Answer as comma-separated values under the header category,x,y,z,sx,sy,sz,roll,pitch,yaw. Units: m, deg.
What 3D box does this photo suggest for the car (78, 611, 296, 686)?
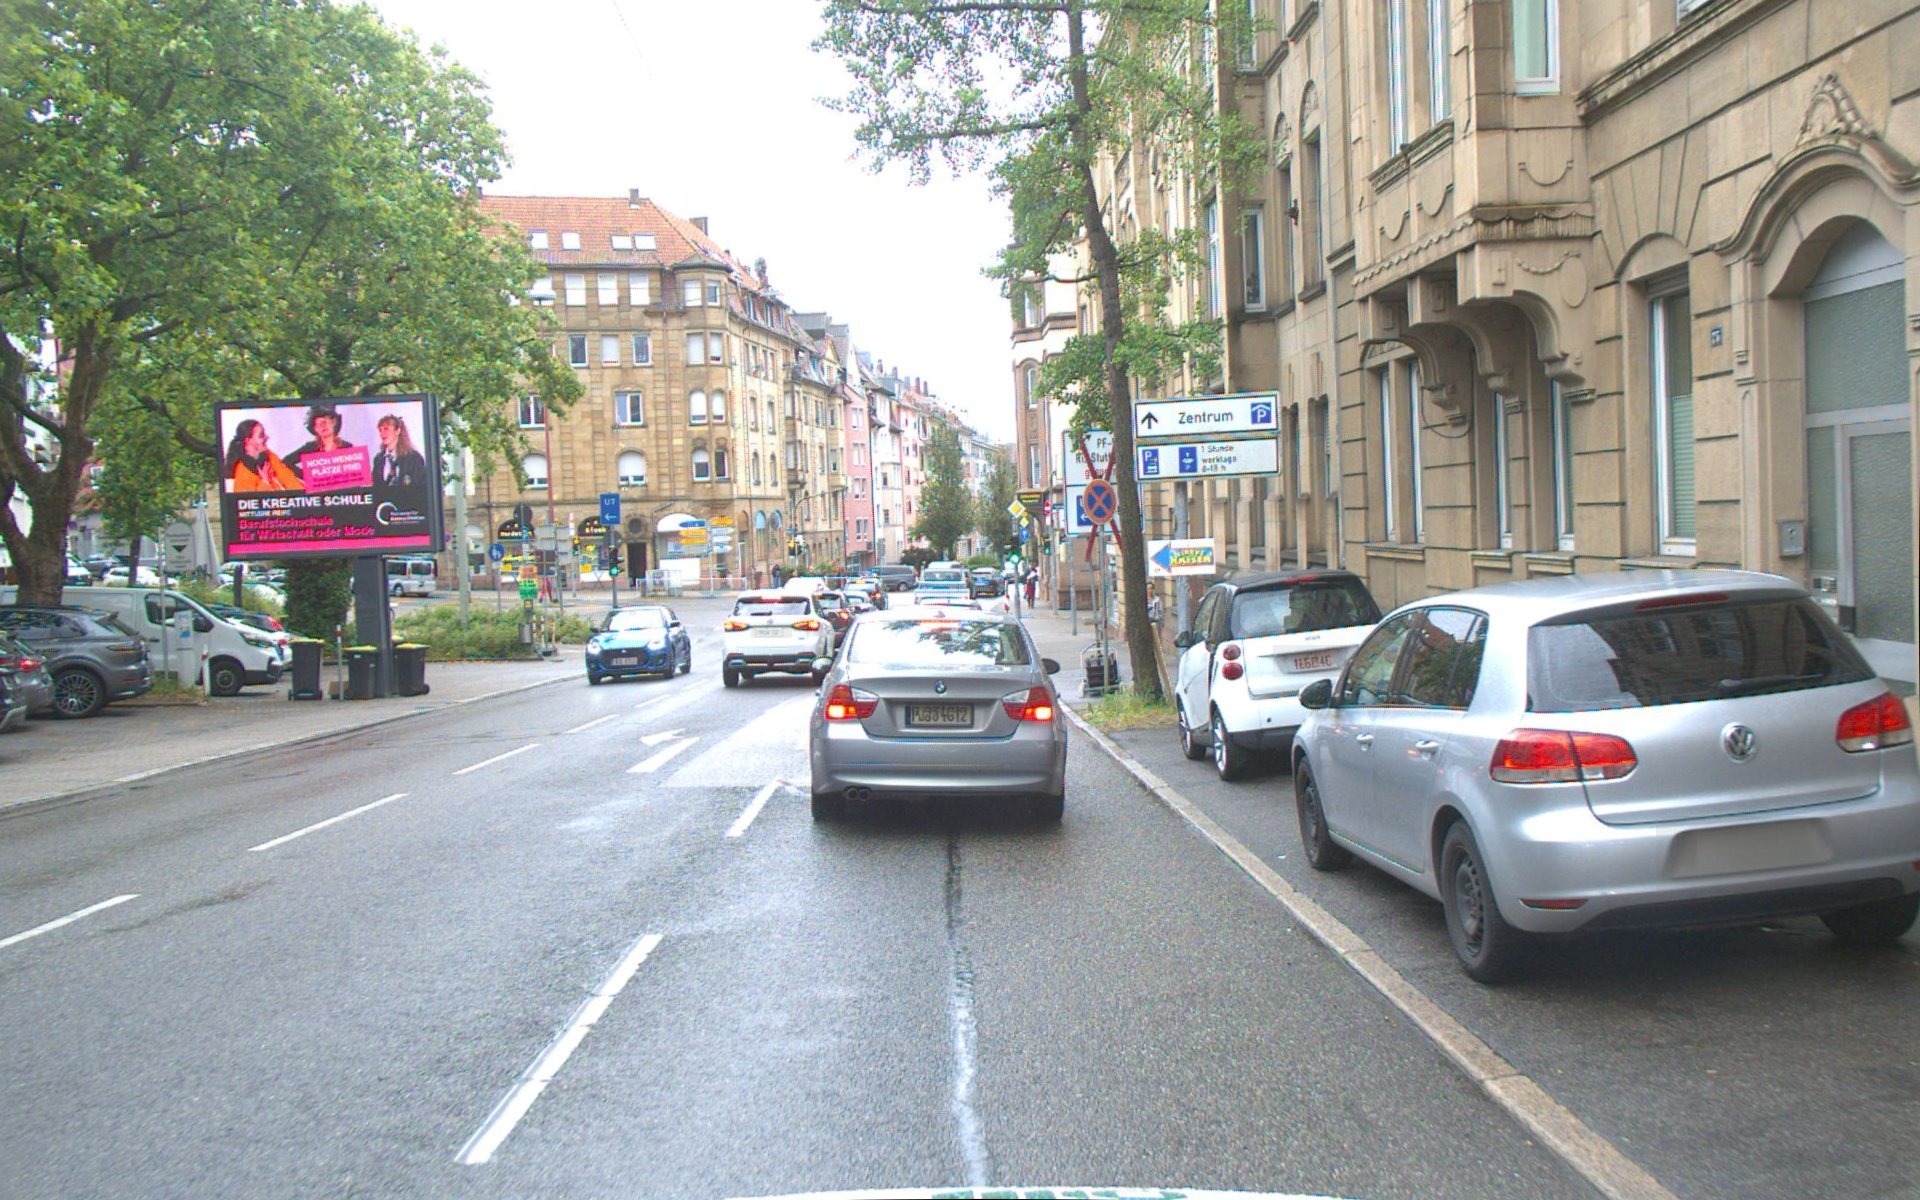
category,x,y,z,sx,sy,sz,roll,pitch,yaw
car,-16.583,1.014,35.714,4.112,1.481,1.782,-1,0,-22

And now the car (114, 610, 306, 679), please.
category,x,y,z,sx,sy,sz,roll,pitch,yaw
car,-17.291,1.005,38.310,3.916,1.476,1.758,-1,0,-22

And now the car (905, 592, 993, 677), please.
category,x,y,z,sx,sy,sz,roll,pitch,yaw
car,-0.175,0.607,31.223,1.562,1.490,4.000,0,0,1

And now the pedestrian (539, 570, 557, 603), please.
category,x,y,z,sx,sy,sz,roll,pitch,yaw
pedestrian,-20.078,-0.658,80.541,0.525,1.605,0.720,-2,0,15

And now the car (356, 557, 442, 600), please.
category,x,y,z,sx,sy,sz,roll,pitch,yaw
car,-29.727,-1.165,87.609,4.197,2.138,1.998,2,2,28

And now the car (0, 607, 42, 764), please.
category,x,y,z,sx,sy,sz,roll,pitch,yaw
car,-12.645,1.021,18.095,4.307,1.702,1.842,-2,0,-23

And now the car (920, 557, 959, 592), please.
category,x,y,z,sx,sy,sz,roll,pitch,yaw
car,-1.191,-1.495,97.612,1.724,1.959,4.327,-1,0,7

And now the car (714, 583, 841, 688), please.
category,x,y,z,sx,sy,sz,roll,pitch,yaw
car,-3.181,0.571,29.518,1.830,1.654,3.999,-2,1,-1

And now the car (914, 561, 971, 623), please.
category,x,y,z,sx,sy,sz,roll,pitch,yaw
car,-0.635,-0.279,59.709,1.953,2.143,3.999,0,0,-1

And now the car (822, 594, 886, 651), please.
category,x,y,z,sx,sy,sz,roll,pitch,yaw
car,-3.334,0.669,52.461,1.723,1.737,4.000,0,0,0

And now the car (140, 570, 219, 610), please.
category,x,y,z,sx,sy,sz,roll,pitch,yaw
car,-44.977,-0.587,95.309,4.197,2.138,1.998,2,2,28

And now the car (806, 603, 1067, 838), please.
category,x,y,z,sx,sy,sz,roll,pitch,yaw
car,-0.127,0.741,11.907,1.590,1.407,3.615,0,0,0

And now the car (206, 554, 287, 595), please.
category,x,y,z,sx,sy,sz,roll,pitch,yaw
car,-40.164,-1.459,93.080,4.197,2.138,1.998,2,2,28

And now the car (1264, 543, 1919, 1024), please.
category,x,y,z,sx,sy,sz,roll,pitch,yaw
car,2.721,0.610,7.631,1.724,1.476,3.999,-6,0,-1

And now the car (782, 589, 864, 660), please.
category,x,y,z,sx,sy,sz,roll,pitch,yaw
car,-3.453,0.589,42.373,1.723,1.737,4.000,0,0,0

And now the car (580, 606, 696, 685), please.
category,x,y,z,sx,sy,sz,roll,pitch,yaw
car,-6.555,0.888,34.012,1.680,1.476,3.741,-1,0,-1

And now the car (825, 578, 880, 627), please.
category,x,y,z,sx,sy,sz,roll,pitch,yaw
car,-3.952,0.084,61.302,1.723,1.737,4.000,0,0,0

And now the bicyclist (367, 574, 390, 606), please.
category,x,y,z,sx,sy,sz,roll,pitch,yaw
bicyclist,-23.609,-0.402,67.157,0.559,1.295,0.687,1,-1,36

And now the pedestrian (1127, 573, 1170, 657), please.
category,x,y,z,sx,sy,sz,roll,pitch,yaw
pedestrian,3.629,0.286,31.872,0.618,1.534,0.693,-5,0,-1

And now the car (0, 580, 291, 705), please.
category,x,y,z,sx,sy,sz,roll,pitch,yaw
car,-15.127,0.741,30.629,4.988,2.142,1.979,-1,0,-22

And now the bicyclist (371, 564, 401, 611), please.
category,x,y,z,sx,sy,sz,roll,pitch,yaw
bicyclist,-23.382,-0.504,67.331,0.767,1.852,0.769,-2,0,28

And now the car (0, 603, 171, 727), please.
category,x,y,z,sx,sy,sz,roll,pitch,yaw
car,-14.612,0.992,25.432,4.294,1.815,1.927,-1,0,-22

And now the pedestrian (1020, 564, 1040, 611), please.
category,x,y,z,sx,sy,sz,roll,pitch,yaw
pedestrian,2.909,-0.519,68.549,0.727,1.943,0.659,-1,0,-2

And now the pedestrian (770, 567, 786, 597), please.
category,x,y,z,sx,sy,sz,roll,pitch,yaw
pedestrian,-10.137,-0.999,92.069,0.716,1.605,0.528,-1,0,8

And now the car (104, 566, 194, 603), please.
category,x,y,z,sx,sy,sz,roll,pitch,yaw
car,-40.868,-0.786,83.333,4.155,1.756,1.997,0,3,29

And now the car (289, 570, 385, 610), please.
category,x,y,z,sx,sy,sz,roll,pitch,yaw
car,-28.912,-0.474,76.730,4.157,1.756,1.996,1,2,30

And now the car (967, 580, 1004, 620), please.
category,x,y,z,sx,sy,sz,roll,pitch,yaw
car,1.387,0.004,89.292,1.689,2.049,4.002,1,-1,5

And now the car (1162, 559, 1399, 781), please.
category,x,y,z,sx,sy,sz,roll,pitch,yaw
car,2.626,0.529,14.096,1.273,1.569,2.975,-5,0,-1

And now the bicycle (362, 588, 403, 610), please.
category,x,y,z,sx,sy,sz,roll,pitch,yaw
bicycle,-23.488,-0.038,67.336,0.564,0.873,1.516,1,-1,36

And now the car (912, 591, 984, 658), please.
category,x,y,z,sx,sy,sz,roll,pitch,yaw
car,-0.343,0.573,42.067,1.724,1.594,3.999,0,0,-1

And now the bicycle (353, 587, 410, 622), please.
category,x,y,z,sx,sy,sz,roll,pitch,yaw
bicycle,-23.490,0.176,67.192,0.658,1.343,2.273,-3,0,28

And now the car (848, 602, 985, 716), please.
category,x,y,z,sx,sy,sz,roll,pitch,yaw
car,-0.529,0.740,22.821,1.723,1.407,4.000,0,0,0

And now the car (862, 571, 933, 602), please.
category,x,y,z,sx,sy,sz,roll,pitch,yaw
car,-4.582,-0.991,121.386,5.072,2.049,2.698,2,-1,-1

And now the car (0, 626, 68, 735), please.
category,x,y,z,sx,sy,sz,roll,pitch,yaw
car,-14.380,1.118,22.453,3.873,1.455,1.733,-1,0,-26

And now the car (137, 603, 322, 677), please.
category,x,y,z,sx,sy,sz,roll,pitch,yaw
car,-17.891,0.948,40.653,4.068,1.682,1.756,-1,0,-24
